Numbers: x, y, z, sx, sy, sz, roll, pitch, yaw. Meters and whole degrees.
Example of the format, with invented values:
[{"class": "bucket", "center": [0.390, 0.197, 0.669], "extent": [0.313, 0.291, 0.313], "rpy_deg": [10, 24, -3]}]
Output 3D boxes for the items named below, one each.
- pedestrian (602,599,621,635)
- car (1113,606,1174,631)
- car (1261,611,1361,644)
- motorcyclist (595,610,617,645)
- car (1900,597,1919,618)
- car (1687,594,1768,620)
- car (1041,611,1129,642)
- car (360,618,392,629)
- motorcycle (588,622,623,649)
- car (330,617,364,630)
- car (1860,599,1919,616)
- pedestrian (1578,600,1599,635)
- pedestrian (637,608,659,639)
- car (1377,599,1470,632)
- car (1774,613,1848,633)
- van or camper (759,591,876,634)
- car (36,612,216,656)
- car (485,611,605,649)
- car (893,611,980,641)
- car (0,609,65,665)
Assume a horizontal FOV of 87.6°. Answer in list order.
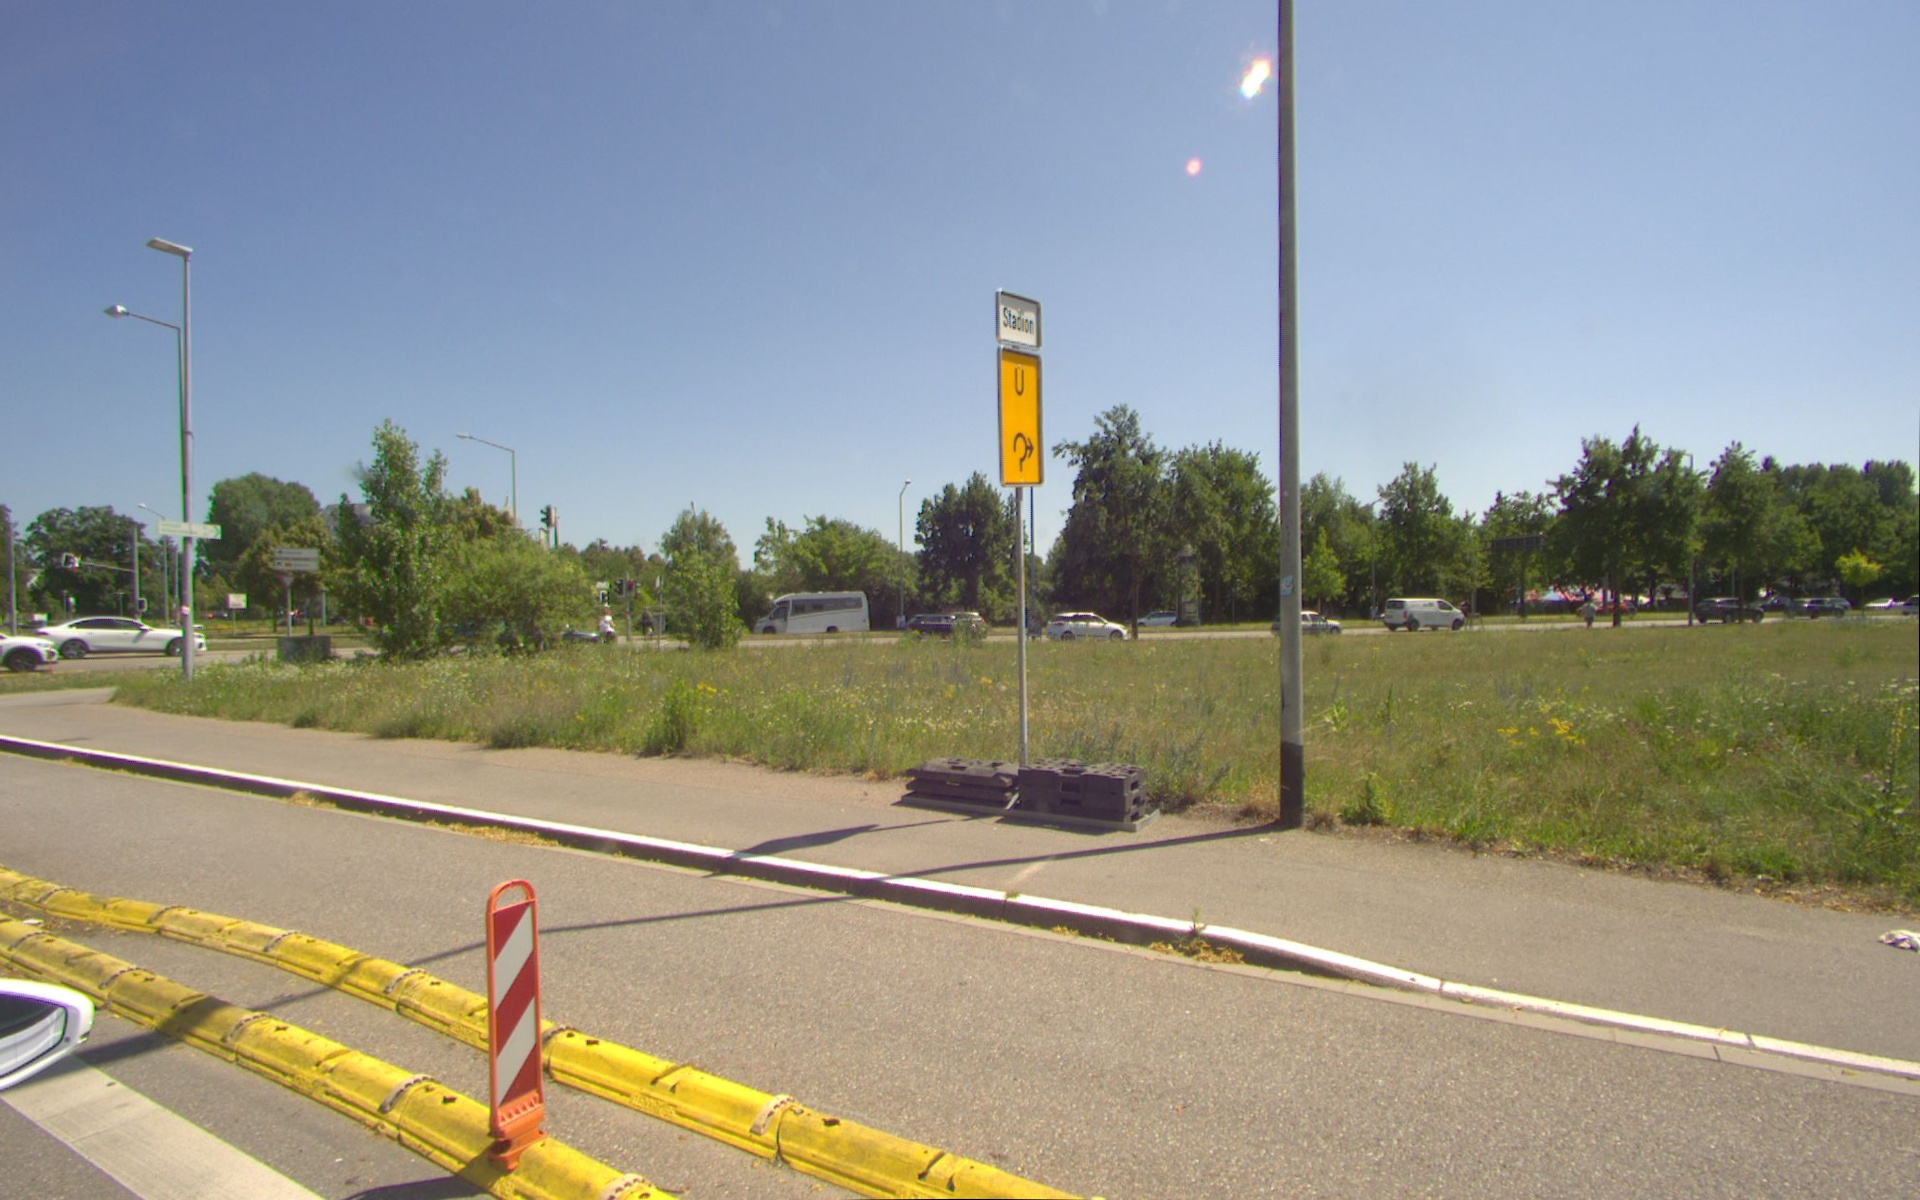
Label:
[{"class": "pedestrian", "center": [-18.447, 0.906, 53.017], "extent": [0.726, 1.894, 0.648], "rpy_deg": [-1, -1, 34]}, {"class": "car", "center": [13.127, 1.305, 71.647], "extent": [3.924, 1.750, 1.737], "rpy_deg": [0, -1, -10]}, {"class": "car", "center": [18.517, 1.438, 52.875], "extent": [4.855, 1.727, 1.995], "rpy_deg": [0, -1, -20]}, {"class": "motorcyclist", "center": [-13.167, 1.026, 37.239], "extent": [0.570, 1.306, 0.615], "rpy_deg": [0, -1, 3]}, {"class": "car", "center": [72.413, 0.547, 74.557], "extent": [3.928, 1.572, 1.738], "rpy_deg": [0, -1, -16]}, {"class": "car", "center": [49.606, 0.454, 64.739], "extent": [4.369, 1.616, 1.997], "rpy_deg": [0, -1, -17]}, {"class": "car", "center": [6.050, 1.294, 48.564], "extent": [3.946, 1.463, 1.632], "rpy_deg": [0, -1, -11]}, {"class": "car", "center": [-87.469, 3.507, 149.975], "extent": [1.963, 1.736, 3.997], "rpy_deg": [0, -1, 14]}, {"class": "motorcycle", "center": [-13.142, 1.316, 37.194], "extent": [0.619, 0.982, 1.709], "rpy_deg": [0, -1, 3]}, {"class": "car", "center": [-88.259, 3.368, 144.190], "extent": [1.964, 1.736, 3.996], "rpy_deg": [0, -1, 16]}, {"class": "car", "center": [86.535, 0.705, 93.120], "extent": [4.696, 1.590, 1.998], "rpy_deg": [0, -1, -15]}, {"class": "pedestrian", "center": [29.070, 0.813, 46.306], "extent": [0.724, 1.583, 0.497], "rpy_deg": [0, 0, -18]}, {"class": "pedestrian", "center": [-16.579, 1.247, 53.159], "extent": [0.811, 1.583, 0.790], "rpy_deg": [-1, -1, 34]}, {"class": "car", "center": [27.281, 0.919, 58.971], "extent": [4.897, 1.874, 1.997], "rpy_deg": [0, -1, -16]}, {"class": "car", "center": [59.336, 1.592, 69.833], "extent": [4.131, 1.409, 1.899], "rpy_deg": [0, -1, -15]}, {"class": "van or camper", "center": [-9.313, 0.830, 65.217], "extent": [7.375, 2.728, 2.511], "rpy_deg": [0, -1, -14]}, {"class": "car", "center": [-31.050, 1.228, 37.417], "extent": [1.978, 1.529, 4.967], "rpy_deg": [-1, -2, 41]}, {"class": "car", "center": [-16.569, 1.183, 40.001], "extent": [4.161, 1.460, 1.989], "rpy_deg": [1, -1, -32]}, {"class": "car", "center": [-1.193, 1.296, 49.944], "extent": [3.931, 1.425, 1.996], "rpy_deg": [0, -1, -19]}, {"class": "car", "center": [-28.576, 1.050, 28.550], "extent": [4.545, 1.586, 1.981], "rpy_deg": [1, -2, -44]}]
